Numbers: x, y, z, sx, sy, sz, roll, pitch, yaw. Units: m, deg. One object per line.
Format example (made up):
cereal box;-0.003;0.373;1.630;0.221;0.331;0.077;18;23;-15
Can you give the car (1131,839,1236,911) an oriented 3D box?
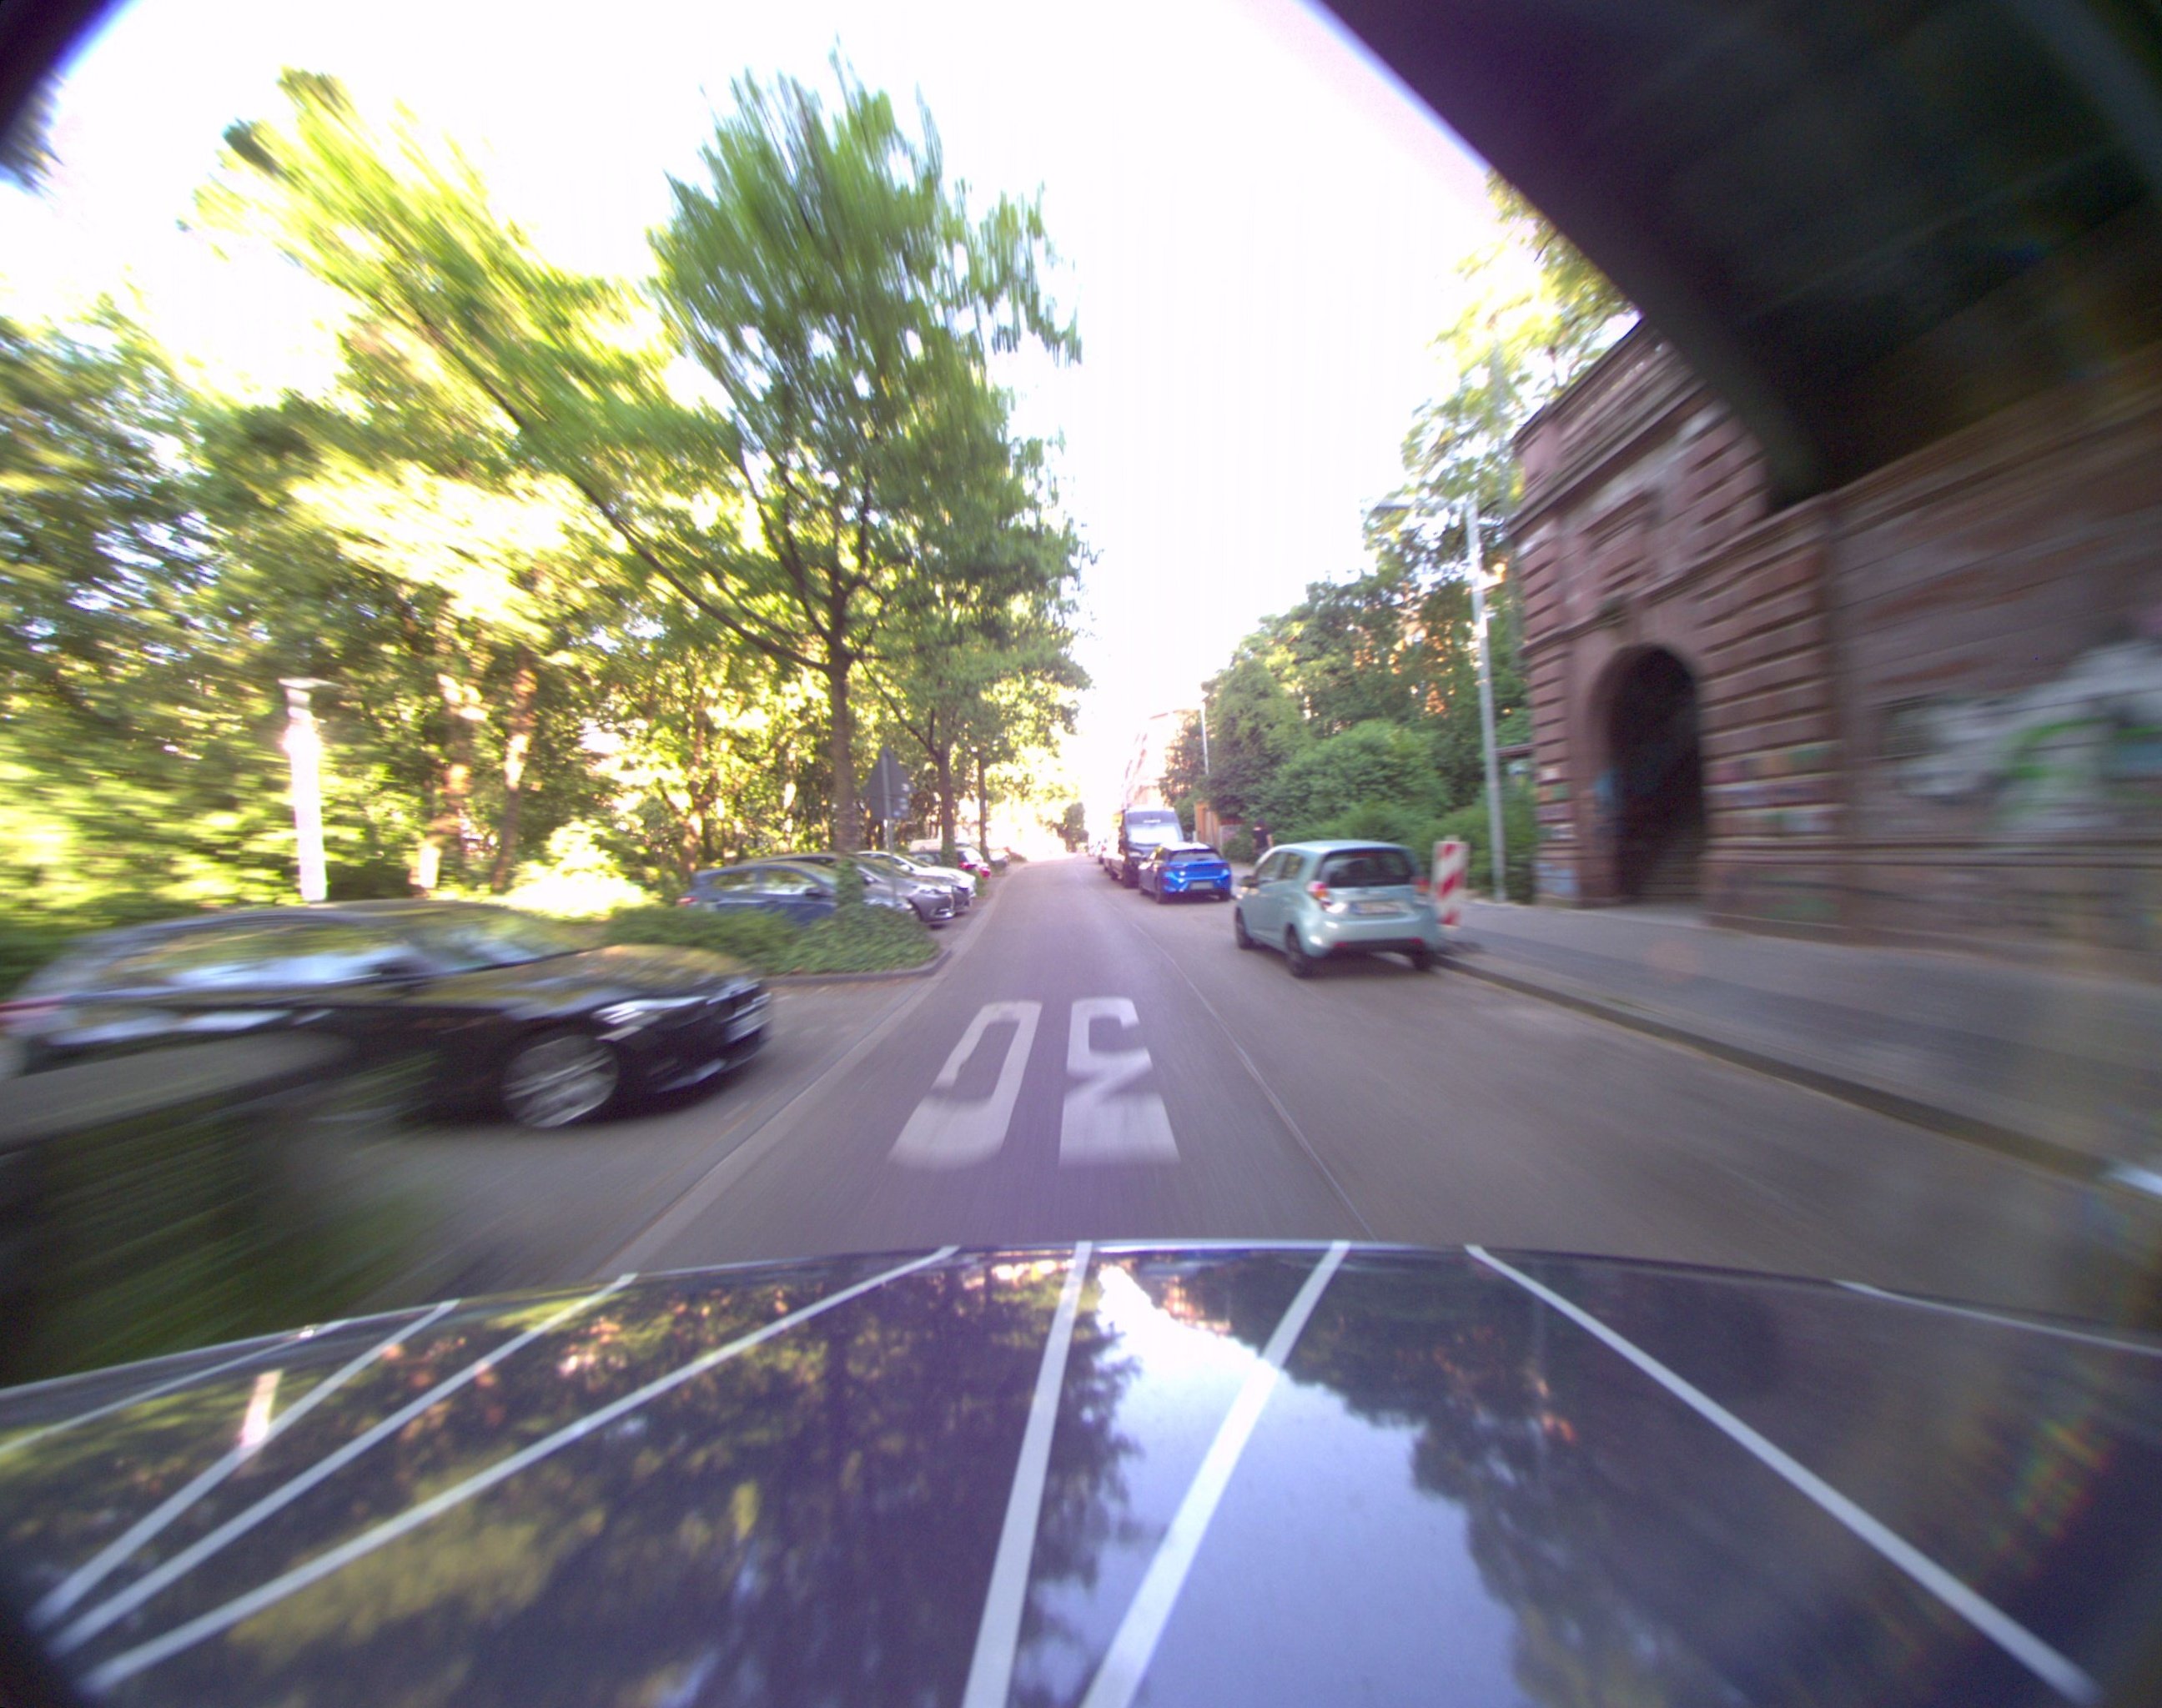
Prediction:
car;2.524;0.437;19.756;1.749;1.458;4.372;-5;2;-4

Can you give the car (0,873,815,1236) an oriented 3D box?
car;-4.315;1.140;5.023;4.386;1.569;1.673;-5;2;-2

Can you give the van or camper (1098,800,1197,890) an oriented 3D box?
van or camper;2.074;-0.364;25.806;2.242;2.509;6.417;-5;2;-3

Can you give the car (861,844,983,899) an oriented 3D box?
car;-5.706;0.605;27.614;3.997;1.565;1.586;-5;2;-2

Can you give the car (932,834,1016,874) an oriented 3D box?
car;-5.596;-0.013;40.070;3.996;1.748;1.798;-5;2;4

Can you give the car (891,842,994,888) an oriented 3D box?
car;-5.899;0.435;32.698;3.996;1.565;1.665;-5;2;2

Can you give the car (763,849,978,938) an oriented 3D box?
car;-4.761;0.863;17.693;4.386;1.524;1.875;-5;2;-2

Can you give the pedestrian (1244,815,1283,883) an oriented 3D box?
pedestrian;5.312;-0.164;22.167;0.639;1.904;1.046;-5;3;-7

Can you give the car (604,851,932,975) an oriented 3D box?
car;-4.995;0.922;12.530;4.597;1.597;1.734;-3;2;3

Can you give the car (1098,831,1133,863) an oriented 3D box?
car;1.757;-0.404;40.035;1.703;1.489;4.548;-2;2;1

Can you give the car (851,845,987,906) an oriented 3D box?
car;-5.235;0.665;24.912;4.031;1.565;1.586;-5;2;-2

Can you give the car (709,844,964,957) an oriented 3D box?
car;-4.696;0.846;15.181;4.387;1.699;1.905;-5;2;-4

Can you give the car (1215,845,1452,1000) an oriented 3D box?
car;3.025;0.696;9.972;1.599;1.538;3.913;-3;1;-3

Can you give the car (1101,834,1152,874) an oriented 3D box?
car;1.854;-0.065;32.161;1.704;1.499;4.226;-2;2;-2

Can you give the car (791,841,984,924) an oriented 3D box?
car;-5.023;0.710;20.248;4.544;1.686;1.906;-5;2;-2

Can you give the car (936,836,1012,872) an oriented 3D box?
car;-5.958;-0.012;42.702;3.998;1.618;1.797;-5;2;-4

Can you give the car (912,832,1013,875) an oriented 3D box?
car;-5.782;-0.060;37.476;4.684;1.914;1.871;-2;2;-2

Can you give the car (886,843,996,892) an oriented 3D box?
car;-5.517;0.516;30.245;3.997;1.565;1.586;-5;2;-2
